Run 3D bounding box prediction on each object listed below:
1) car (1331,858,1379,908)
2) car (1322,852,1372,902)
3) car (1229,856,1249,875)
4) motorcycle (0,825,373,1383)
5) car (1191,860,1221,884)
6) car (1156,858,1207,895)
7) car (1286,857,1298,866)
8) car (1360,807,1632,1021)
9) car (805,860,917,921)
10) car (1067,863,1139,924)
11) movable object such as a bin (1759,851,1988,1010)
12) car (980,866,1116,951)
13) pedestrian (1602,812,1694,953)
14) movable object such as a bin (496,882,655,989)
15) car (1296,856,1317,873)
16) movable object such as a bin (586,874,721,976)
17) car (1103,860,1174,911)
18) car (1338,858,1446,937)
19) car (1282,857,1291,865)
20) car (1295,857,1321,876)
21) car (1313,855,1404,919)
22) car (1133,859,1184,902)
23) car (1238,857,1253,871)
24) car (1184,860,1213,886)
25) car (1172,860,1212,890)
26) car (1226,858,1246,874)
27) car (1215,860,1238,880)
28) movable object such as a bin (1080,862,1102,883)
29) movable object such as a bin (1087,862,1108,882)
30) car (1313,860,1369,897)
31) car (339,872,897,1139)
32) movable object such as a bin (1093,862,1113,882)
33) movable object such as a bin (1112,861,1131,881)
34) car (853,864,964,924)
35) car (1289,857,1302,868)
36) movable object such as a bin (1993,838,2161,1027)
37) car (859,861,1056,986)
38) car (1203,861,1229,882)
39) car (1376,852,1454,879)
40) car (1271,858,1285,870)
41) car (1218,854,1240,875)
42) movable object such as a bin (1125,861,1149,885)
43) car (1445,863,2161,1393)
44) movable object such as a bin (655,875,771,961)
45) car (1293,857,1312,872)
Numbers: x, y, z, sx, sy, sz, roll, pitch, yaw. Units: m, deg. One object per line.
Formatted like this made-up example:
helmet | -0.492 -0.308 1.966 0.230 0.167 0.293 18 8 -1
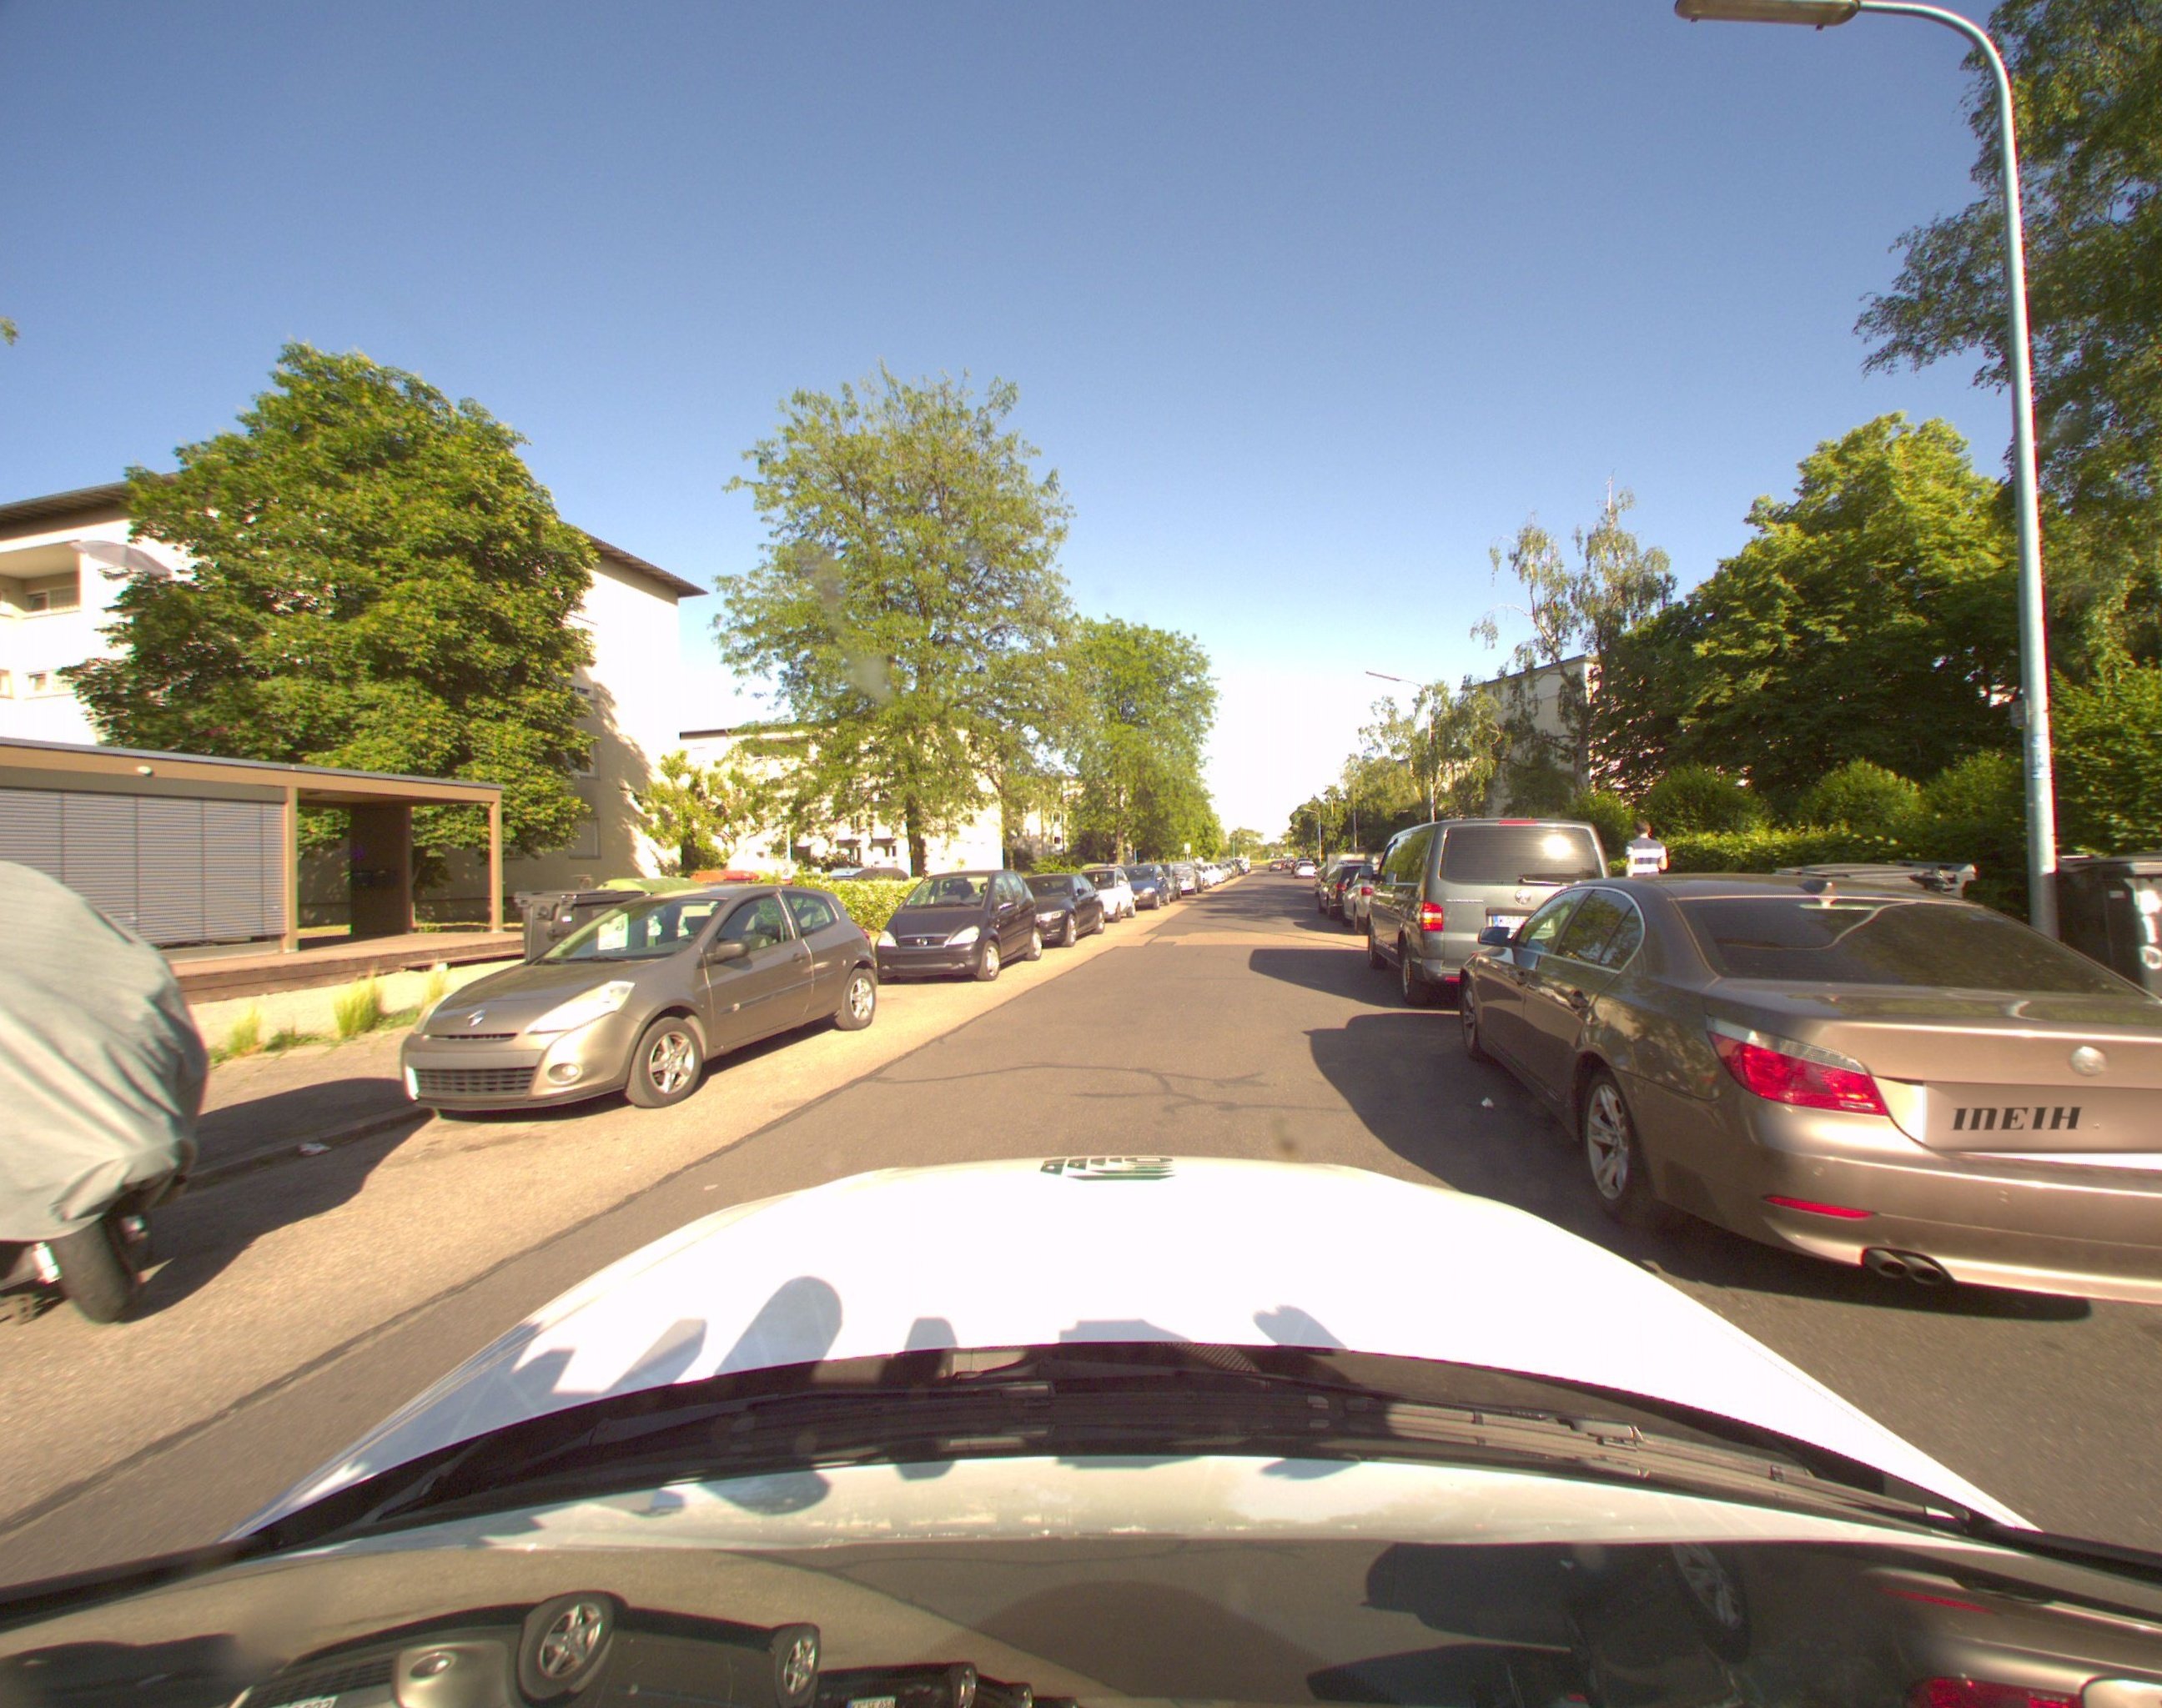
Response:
car | 8.794 0.882 26.250 1.404 1.523 2.569 0 0 17
car | 9.464 0.796 29.066 1.478 1.718 2.592 0 0 13
car | 18.052 1.299 92.950 1.901 1.962 5.106 -3 -1 14
motorcycle | -4.231 0.856 3.190 2.242 1.727 0.935 -4 -2 10
car | 8.664 1.227 56.111 1.675 1.535 3.904 -3 -1 13
car | 4.935 1.050 39.517 1.889 1.640 4.365 -3 -1 13
car | 38.187 1.379 147.418 1.784 1.643 3.964 -1 -1 11
car | 4.615 0.559 9.882 1.840 1.934 4.721 0 0 13
car | -6.465 1.020 24.346 1.560 1.641 4.013 -1 -1 12
car | 0.704 1.104 23.762 1.434 1.574 3.153 -4 -1 13
movable object such as a bin | 7.274 0.667 7.598 1.017 1.310 1.394 -5 -2 24
car | -0.545 1.068 17.646 1.742 1.481 4.553 -4 -1 12
pedestrian | 8.046 0.401 11.602 0.698 1.888 0.876 -4 -2 14
movable object such as a bin | -6.680 1.039 10.838 1.169 1.288 1.348 -1 -1 14
car | 22.761 1.010 82.394 1.894 1.639 4.645 -1 -1 14
movable object such as a bin | -6.390 1.030 12.257 1.169 1.408 1.348 -1 -1 14
car | 2.138 1.081 29.171 1.741 1.606 3.984 -4 -1 14
car | 6.515 0.833 17.416 1.612 1.490 4.050 0 0 13
car | 45.785 1.569 181.648 1.784 1.549 3.964 -1 -1 11
car | 18.547 1.027 66.697 1.742 1.513 4.117 0 0 11
car | 7.455 0.829 22.258 1.720 1.490 4.515 -3 -1 11
car | 3.314 1.070 34.167 1.624 1.606 3.547 -3 -1 13
car | 21.462 1.315 106.298 1.734 1.732 4.020 -3 -1 14
car | 7.162 1.138 49.735 1.653 1.513 3.545 -3 -1 7
car | 6.184 1.133 45.093 1.650 1.513 3.961 -3 -1 15
car | 16.558 1.285 86.828 1.733 1.533 4.156 -3 -1 16
car | 12.854 1.385 71.786 1.698 1.600 3.999 -4 -1 12
movable object such as a bin | 0.720 1.276 57.215 1.169 1.421 1.468 1 0 16
movable object such as a bin | 1.220 1.278 58.919 1.169 1.421 1.468 1 0 16
car | 10.465 0.960 33.003 1.720 1.403 3.907 0 0 11
car | -3.344 0.985 6.898 1.741 1.481 3.975 -4 -1 15
movable object such as a bin | 1.646 1.295 60.386 1.169 1.421 1.468 1 0 16
movable object such as a bin | 3.009 1.281 60.568 1.126 1.421 1.366 1 0 15
car | -4.772 1.059 23.102 1.560 1.525 4.013 -1 -1 12
car | 33.525 1.329 127.437 1.784 1.562 3.964 -1 -1 11
movable object such as a bin | 8.351 0.559 6.340 1.214 1.365 1.138 -2 -1 17
car | -1.736 0.964 12.762 1.742 1.574 3.732 -4 -1 12
car | 10.235 1.294 61.538 1.675 1.505 3.830 -2 -1 12
car | 21.479 0.728 52.582 4.383 1.513 1.836 -3 -1 14
car | 26.674 1.344 110.250 1.669 1.513 4.117 0 0 11
car | 14.264 1.022 78.149 1.842 1.892 4.432 -3 -1 12
movable object such as a bin | 3.350 1.140 48.732 1.128 1.382 1.447 1 0 15
car | 3.394 0.779 4.526 1.788 1.419 4.654 -1 -1 15
movable object such as a bin | -6.166 1.040 13.711 1.169 1.340 1.348 -1 -1 15
car | 23.943 1.140 88.146 1.894 1.531 4.344 -1 -1 14
